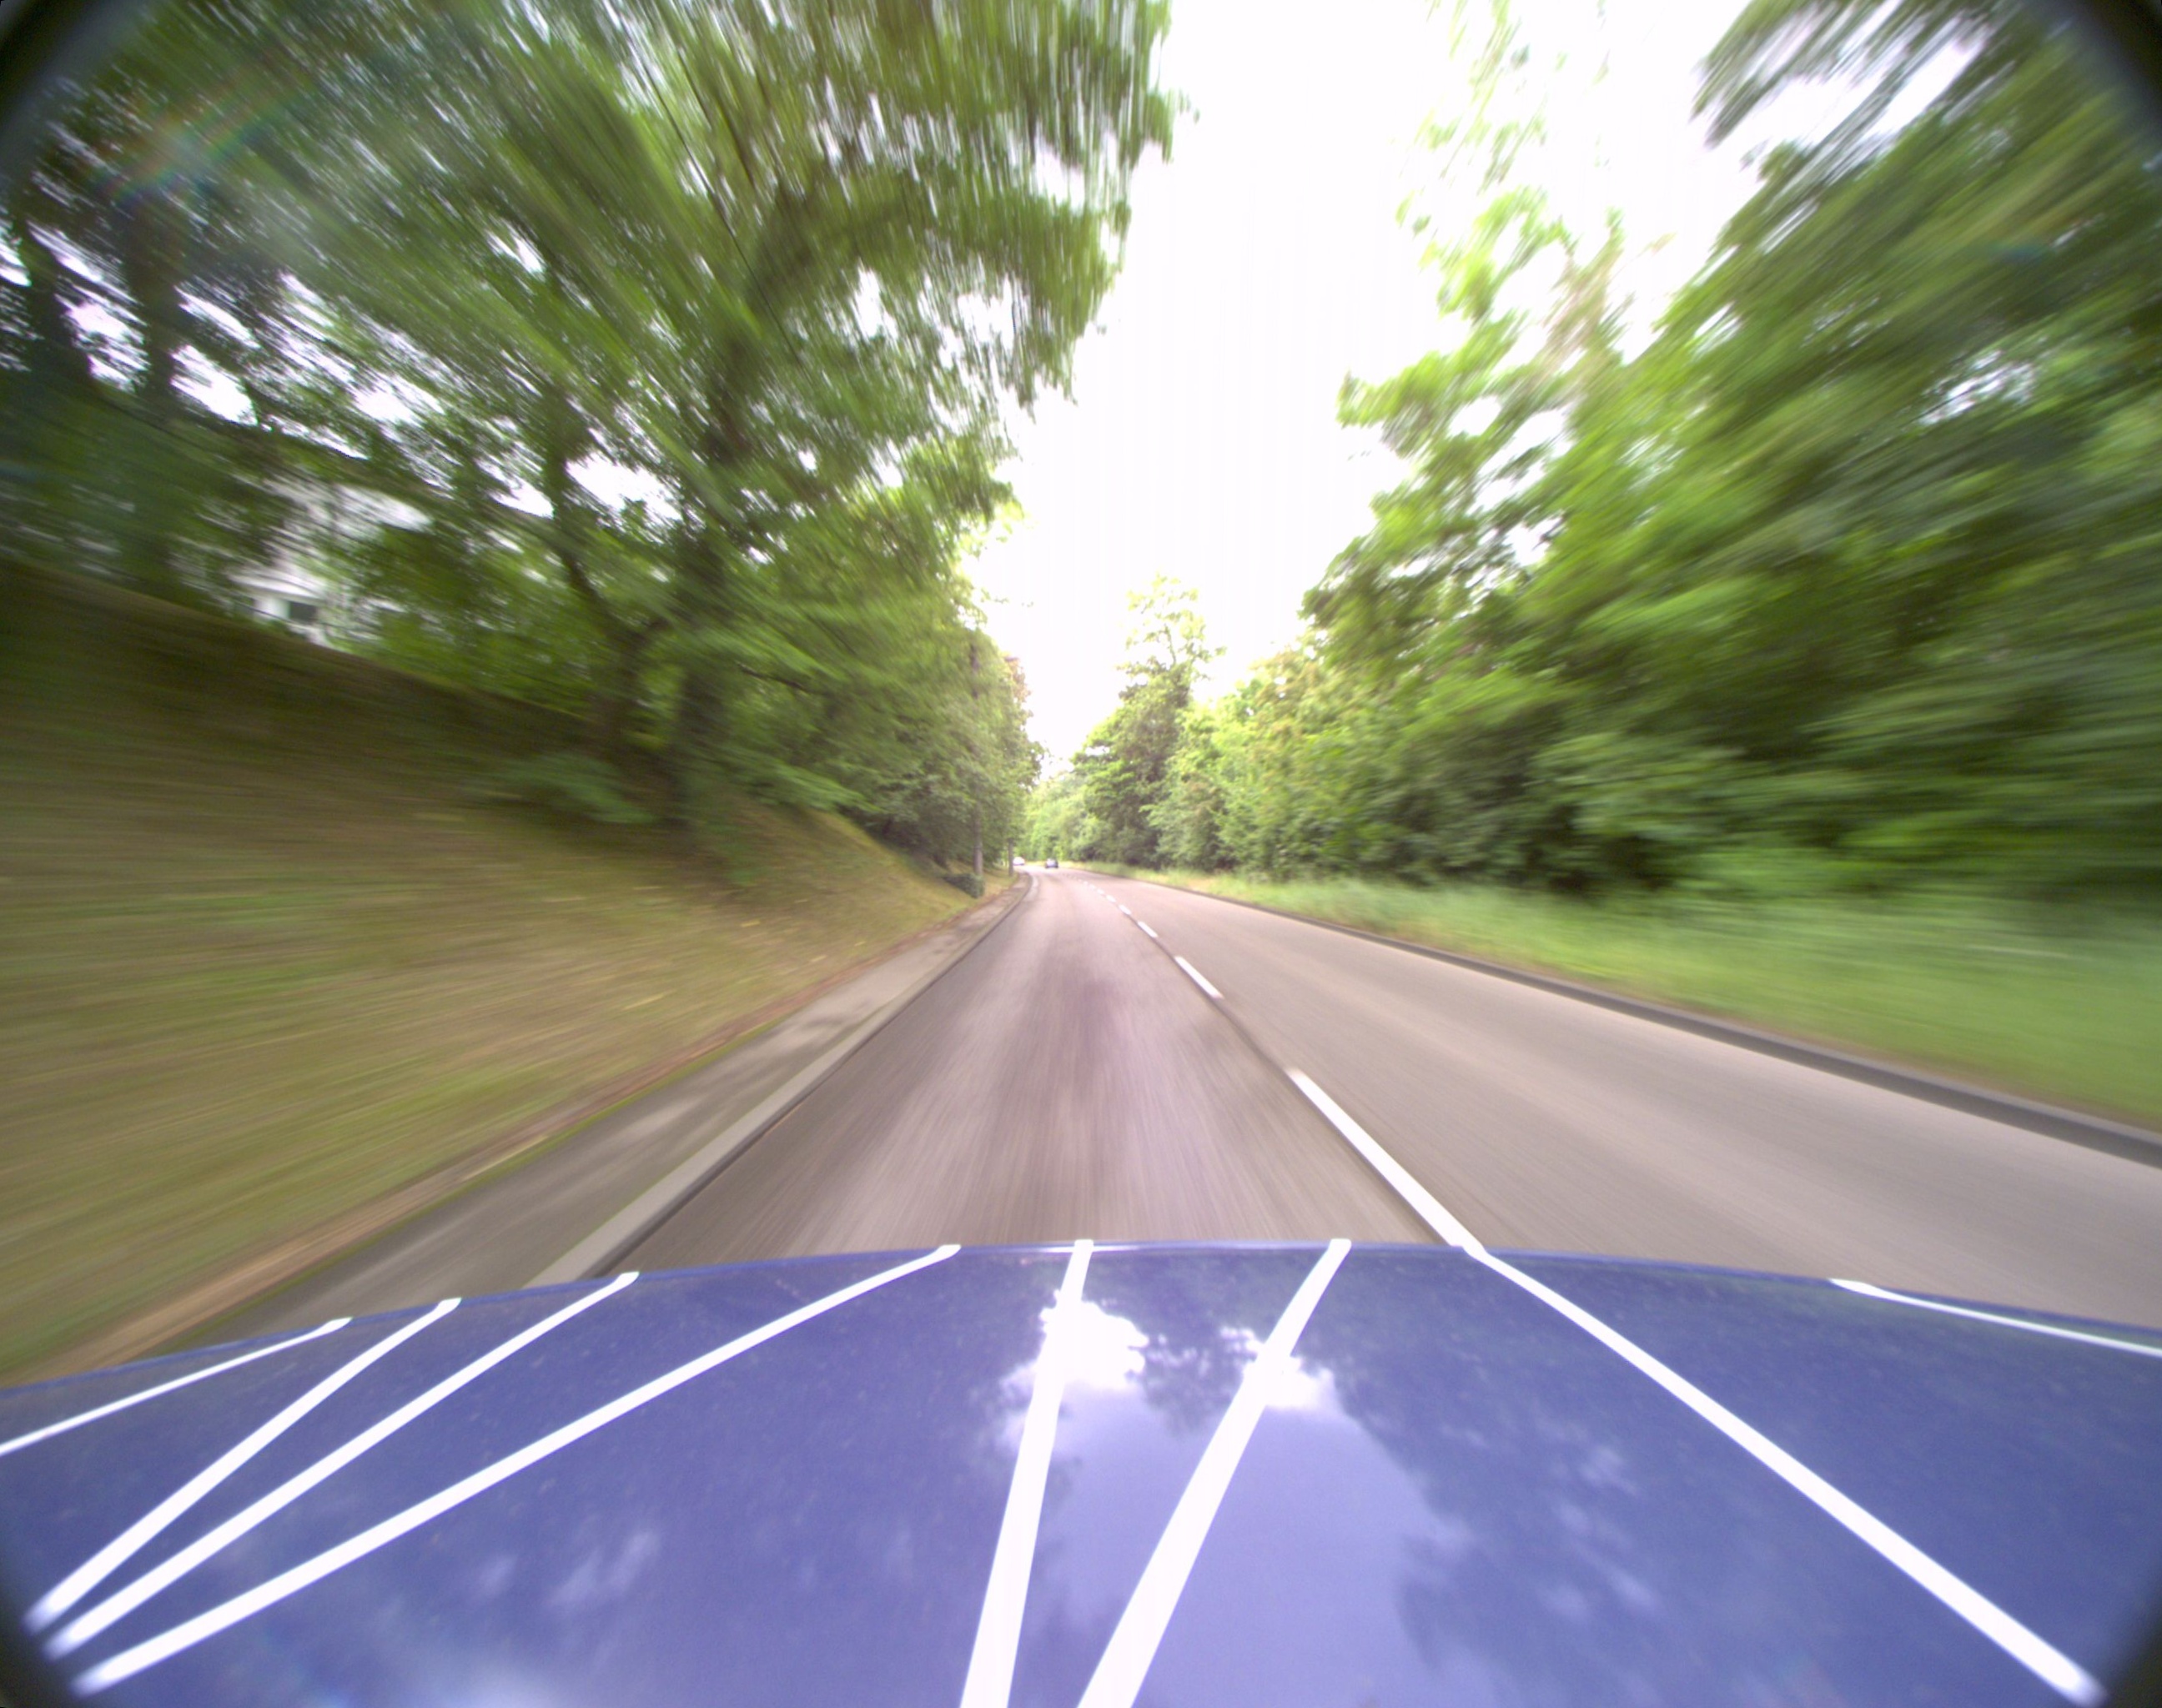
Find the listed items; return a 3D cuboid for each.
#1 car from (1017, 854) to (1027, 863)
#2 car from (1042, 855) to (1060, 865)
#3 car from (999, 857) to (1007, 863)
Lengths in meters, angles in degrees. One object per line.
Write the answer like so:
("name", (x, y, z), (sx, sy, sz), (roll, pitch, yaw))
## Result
("car", (-12.989, 1.012, 167.041), (1.824, 1.685, 4.284), (-2, 1, -6))
("car", (-4.513, 0.902, 113.315), (2.001, 1.429, 3.995), (-2, 1, -13))
("car", (-19.701, 1.532, 191.457), (2.036, 1.499, 4.592), (-2, 1, -6))
